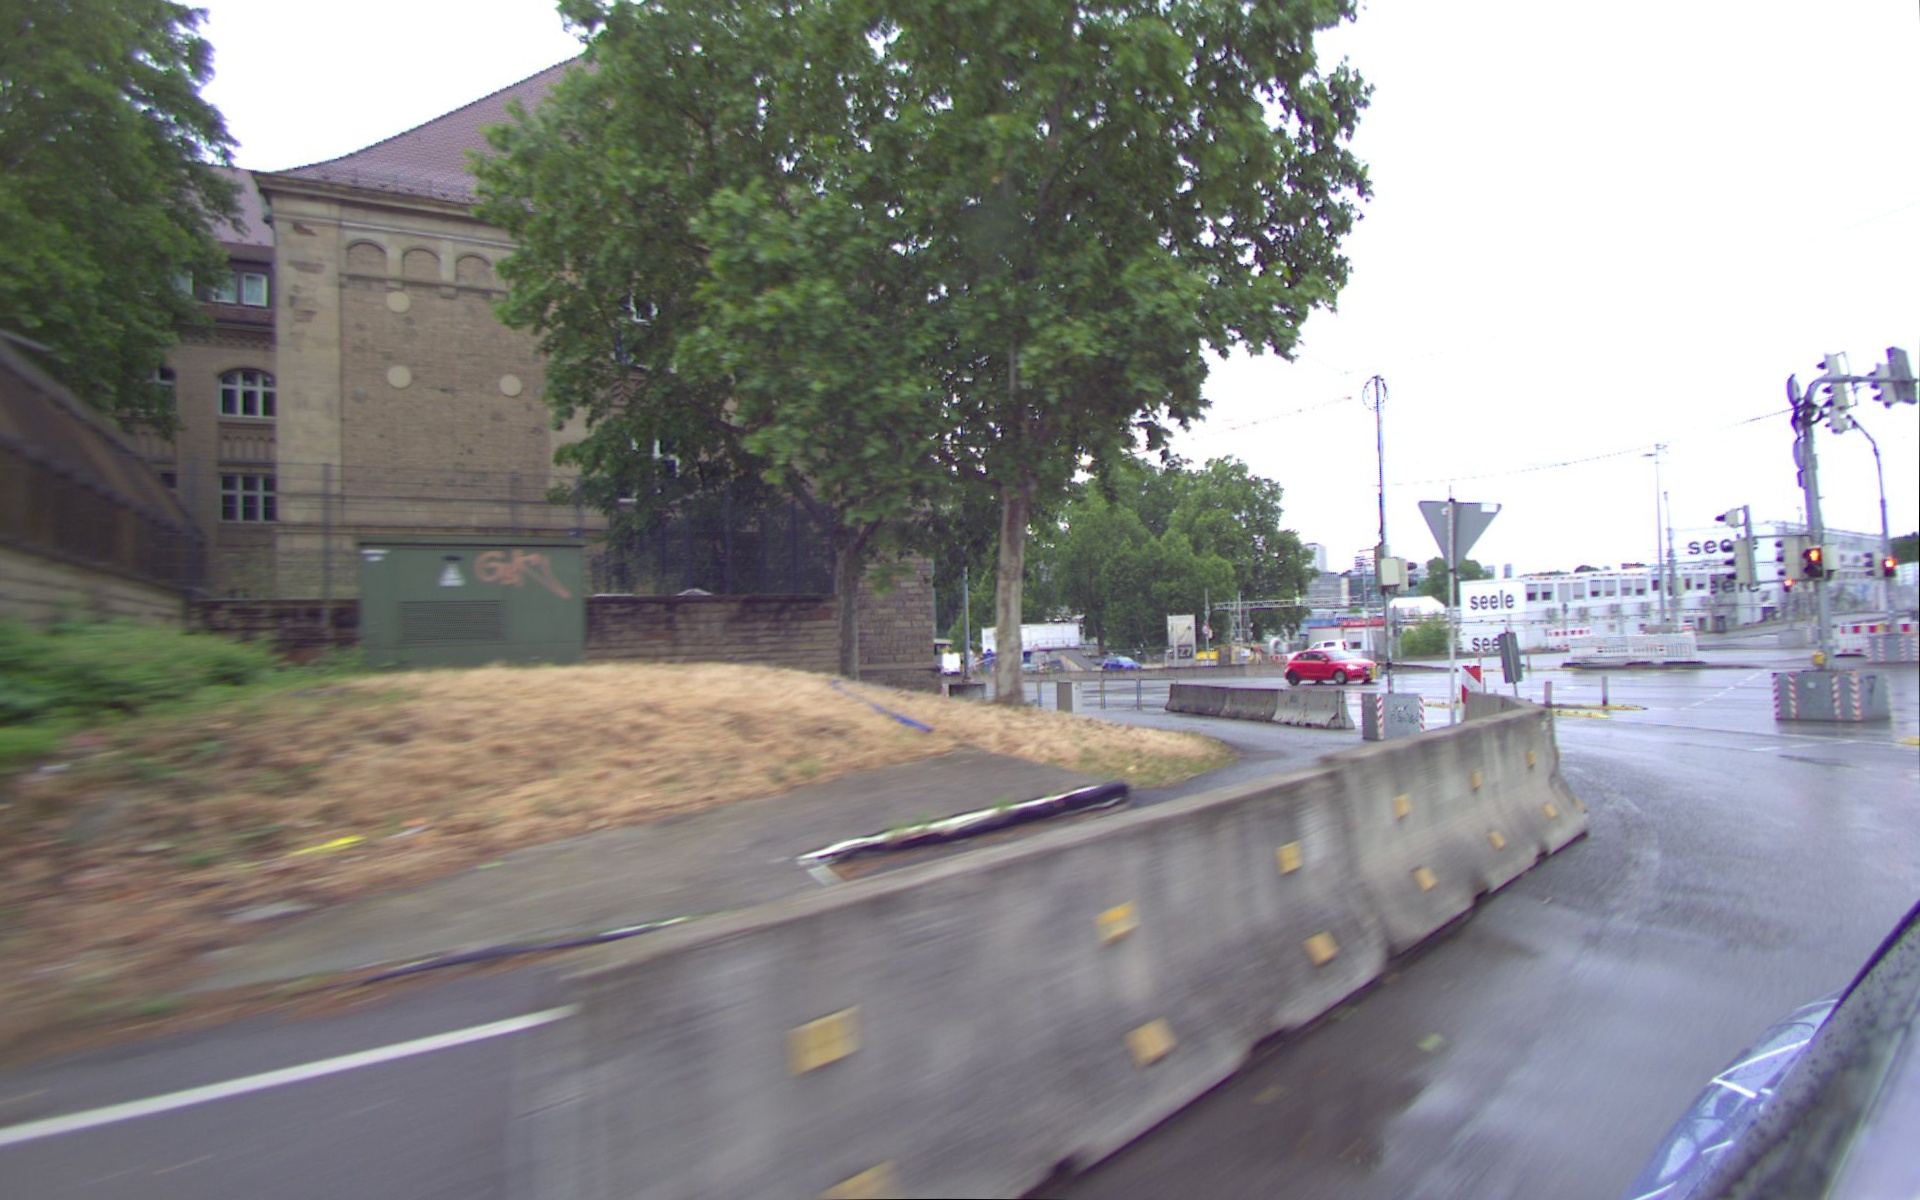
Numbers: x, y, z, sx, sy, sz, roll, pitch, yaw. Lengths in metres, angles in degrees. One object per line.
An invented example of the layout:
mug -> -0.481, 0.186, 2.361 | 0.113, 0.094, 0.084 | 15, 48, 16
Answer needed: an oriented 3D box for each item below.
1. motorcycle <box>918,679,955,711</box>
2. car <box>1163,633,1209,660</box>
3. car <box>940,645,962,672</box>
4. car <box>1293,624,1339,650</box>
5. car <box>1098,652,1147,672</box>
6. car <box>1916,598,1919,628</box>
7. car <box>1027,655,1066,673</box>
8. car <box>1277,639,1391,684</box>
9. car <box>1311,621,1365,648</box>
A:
motorcycle -> -0.902, 3.562, 38.119 | 0.537, 1.153, 1.900 | -2, -4, -28
car -> 21.557, 4.467, 96.715 | 1.960, 2.415, 4.003 | -2, -4, -28
car -> -0.993, 6.439, 111.070 | 2.039, 2.774, 4.593 | -3, -3, -4
car -> 36.503, 3.789, 103.753 | 3.973, 2.415, 1.974 | -6, -4, 36
car -> 13.474, 5.161, 84.068 | 1.803, 1.509, 4.445 | -2, -3, -23
car -> 60.652, 0.687, 62.191 | 4.278, 1.795, 1.997 | -1, -4, -38
car -> 8.242, 6.131, 96.414 | 1.803, 1.509, 4.445 | -2, -3, -22
car -> 14.925, 2.487, 40.564 | 1.658, 1.572, 3.999 | -2, -4, -32
car -> 39.238, 3.608, 105.133 | 4.898, 2.415, 1.982 | -5, -4, 26
